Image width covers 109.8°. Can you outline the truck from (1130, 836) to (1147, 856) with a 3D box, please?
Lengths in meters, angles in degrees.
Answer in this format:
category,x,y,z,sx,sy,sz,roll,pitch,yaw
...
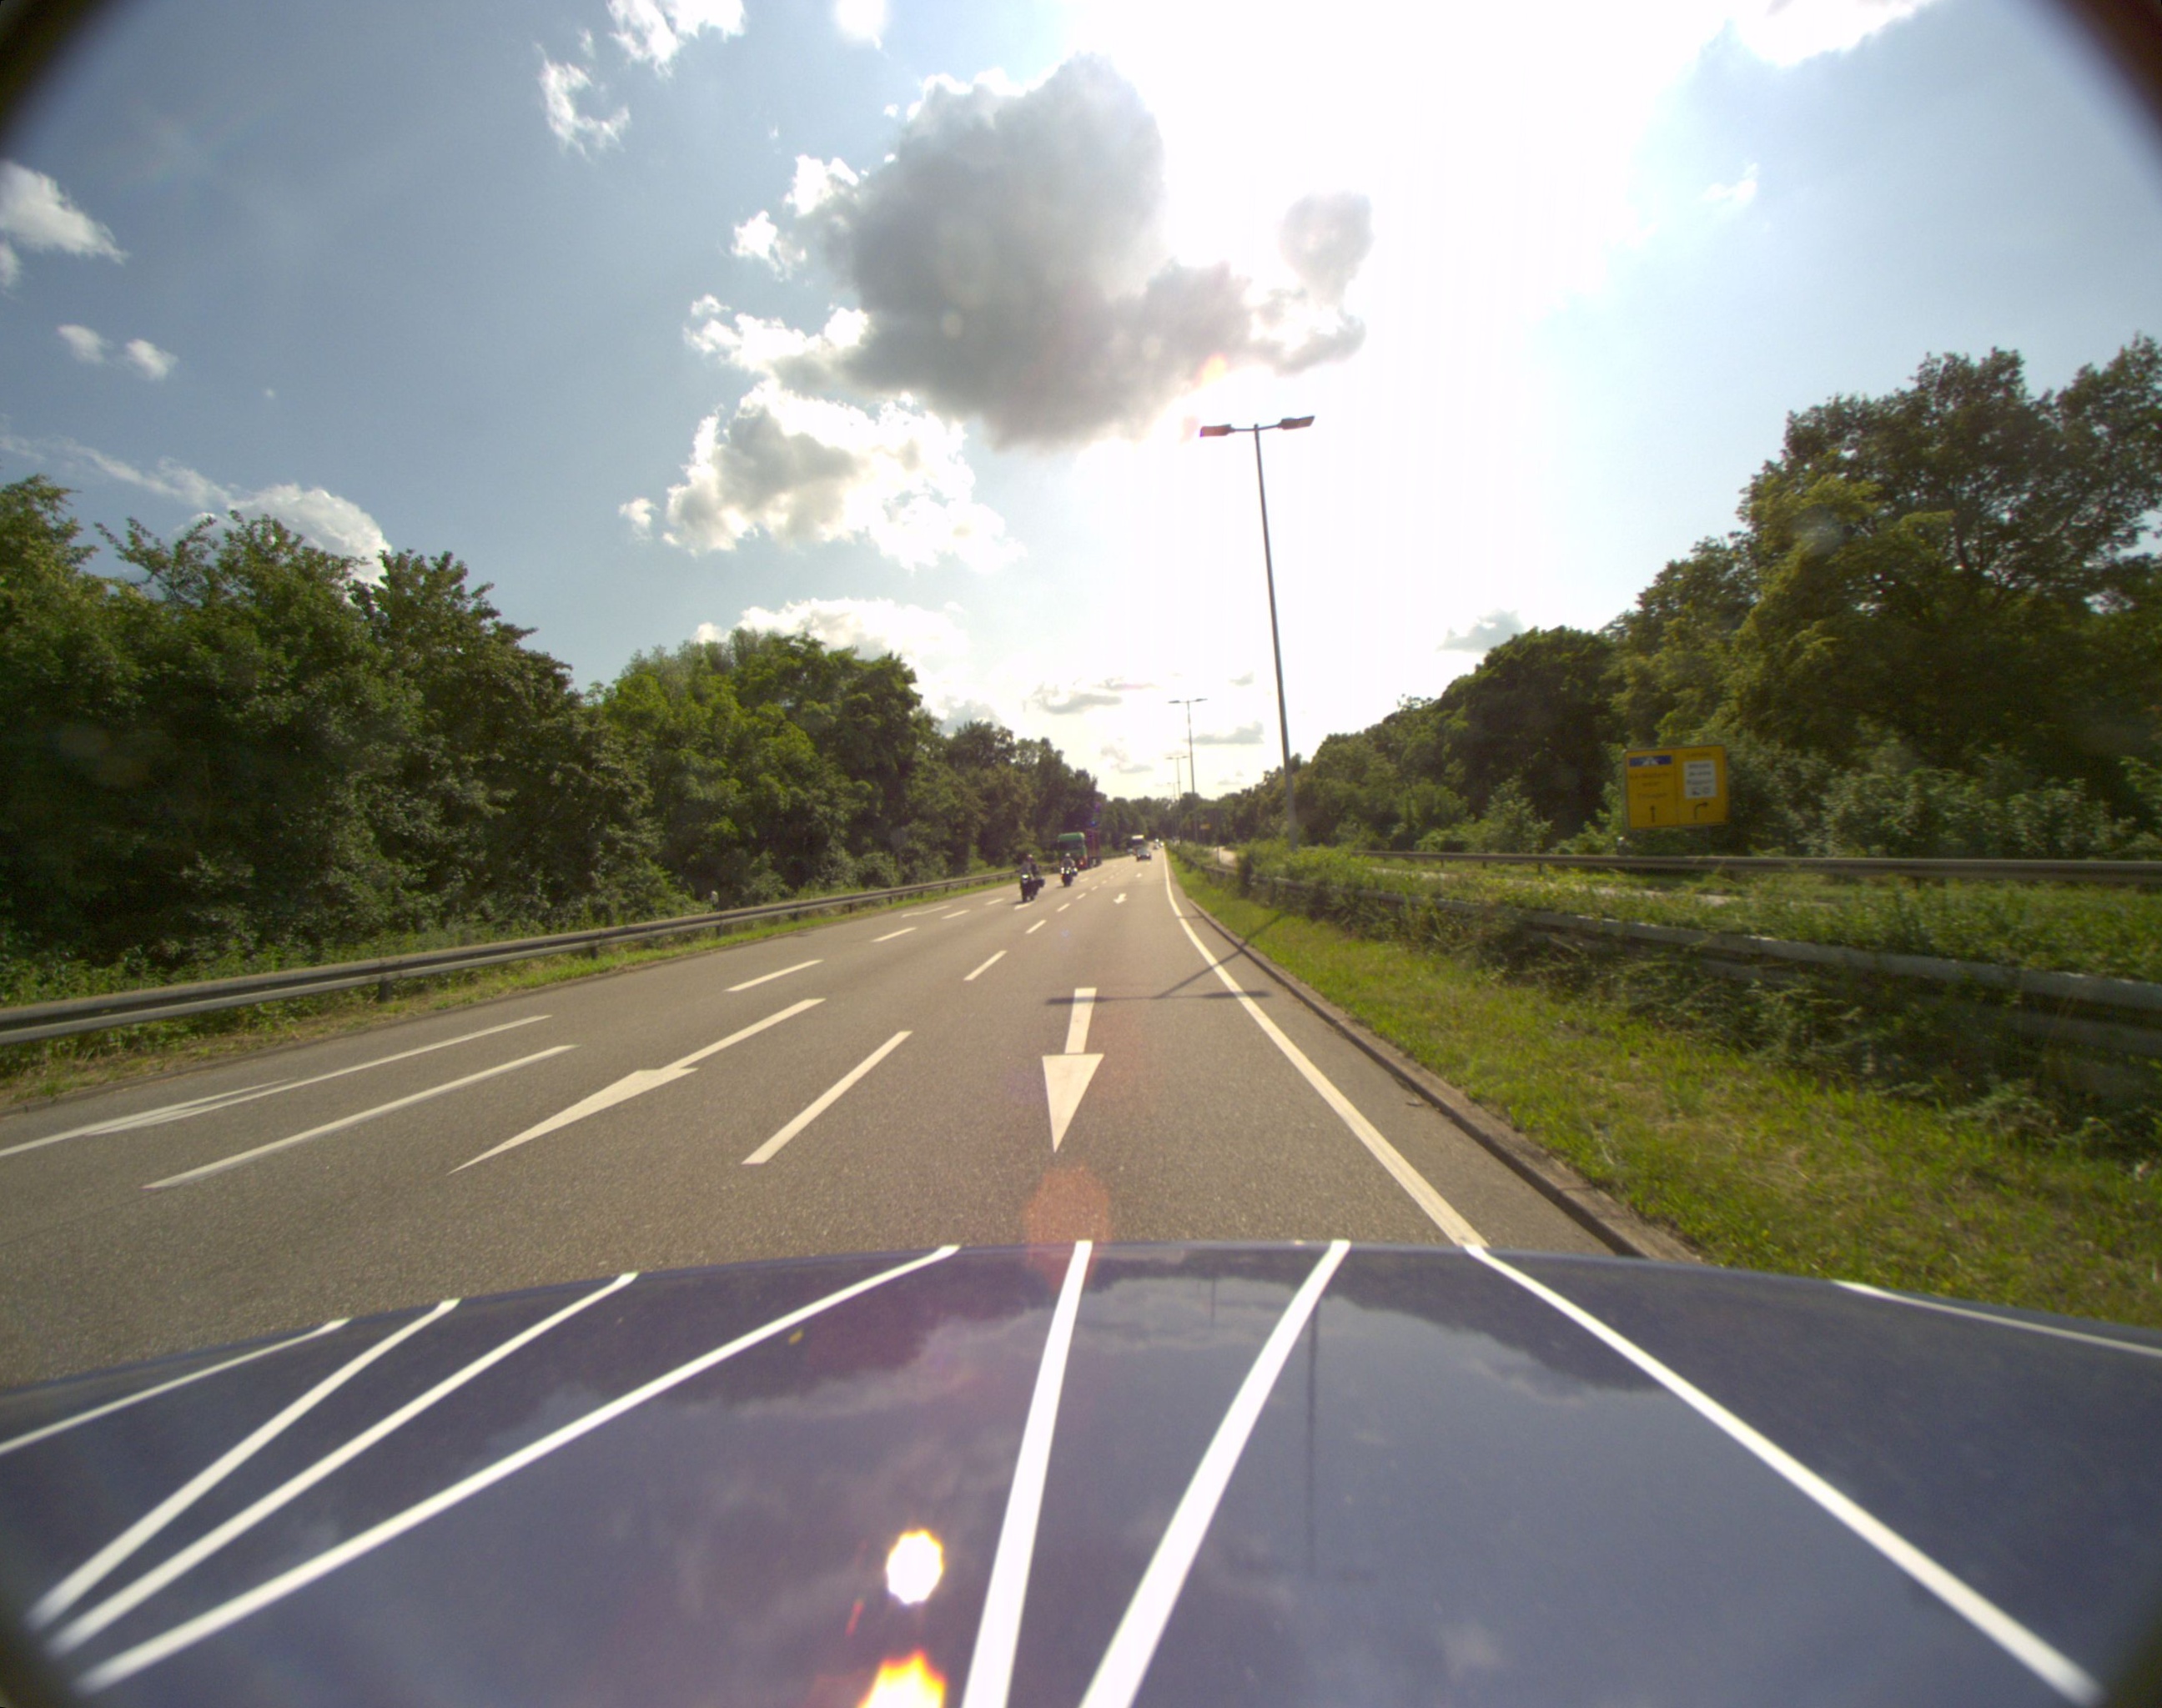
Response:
category,x,y,z,sx,sy,sz,roll,pitch,yaw
truck,12.156,-1.634,159.879,2.690,3.948,7.387,-5,0,8

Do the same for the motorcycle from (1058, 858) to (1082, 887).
category,x,y,z,sx,sy,sz,roll,pitch,yaw
motorcycle,-0.570,0.942,39.510,0.867,1.381,2.371,-3,0,6

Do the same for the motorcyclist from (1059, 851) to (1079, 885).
category,x,y,z,sx,sy,sz,roll,pitch,yaw
motorcyclist,-0.604,0.699,39.338,0.867,1.690,0.895,-3,0,6

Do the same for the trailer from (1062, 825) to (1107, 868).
category,x,y,z,sx,sy,sz,roll,pitch,yaw
trailer,0.593,-0.757,79.669,2.590,3.871,14.509,-5,0,7

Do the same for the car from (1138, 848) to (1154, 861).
category,x,y,z,sx,sy,sz,roll,pitch,yaw
car,7.988,0.108,92.929,1.735,1.468,4.049,-3,0,7

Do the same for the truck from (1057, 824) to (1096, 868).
category,x,y,z,sx,sy,sz,roll,pitch,yaw
truck,-0.357,-0.750,72.468,2.590,3.871,6.064,-5,0,7

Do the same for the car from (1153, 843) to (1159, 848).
category,x,y,z,sx,sy,sz,roll,pitch,yaw
car,23.085,-2.726,234.404,1.796,1.368,4.002,-3,0,7

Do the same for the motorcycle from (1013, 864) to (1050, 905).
category,x,y,z,sx,sy,sz,roll,pitch,yaw
motorcycle,-1.789,1.078,28.038,0.939,1.375,2.371,-3,0,5

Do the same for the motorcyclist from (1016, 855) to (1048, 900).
category,x,y,z,sx,sy,sz,roll,pitch,yaw
motorcyclist,-1.802,0.843,28.070,0.939,1.581,1.084,-3,0,5
